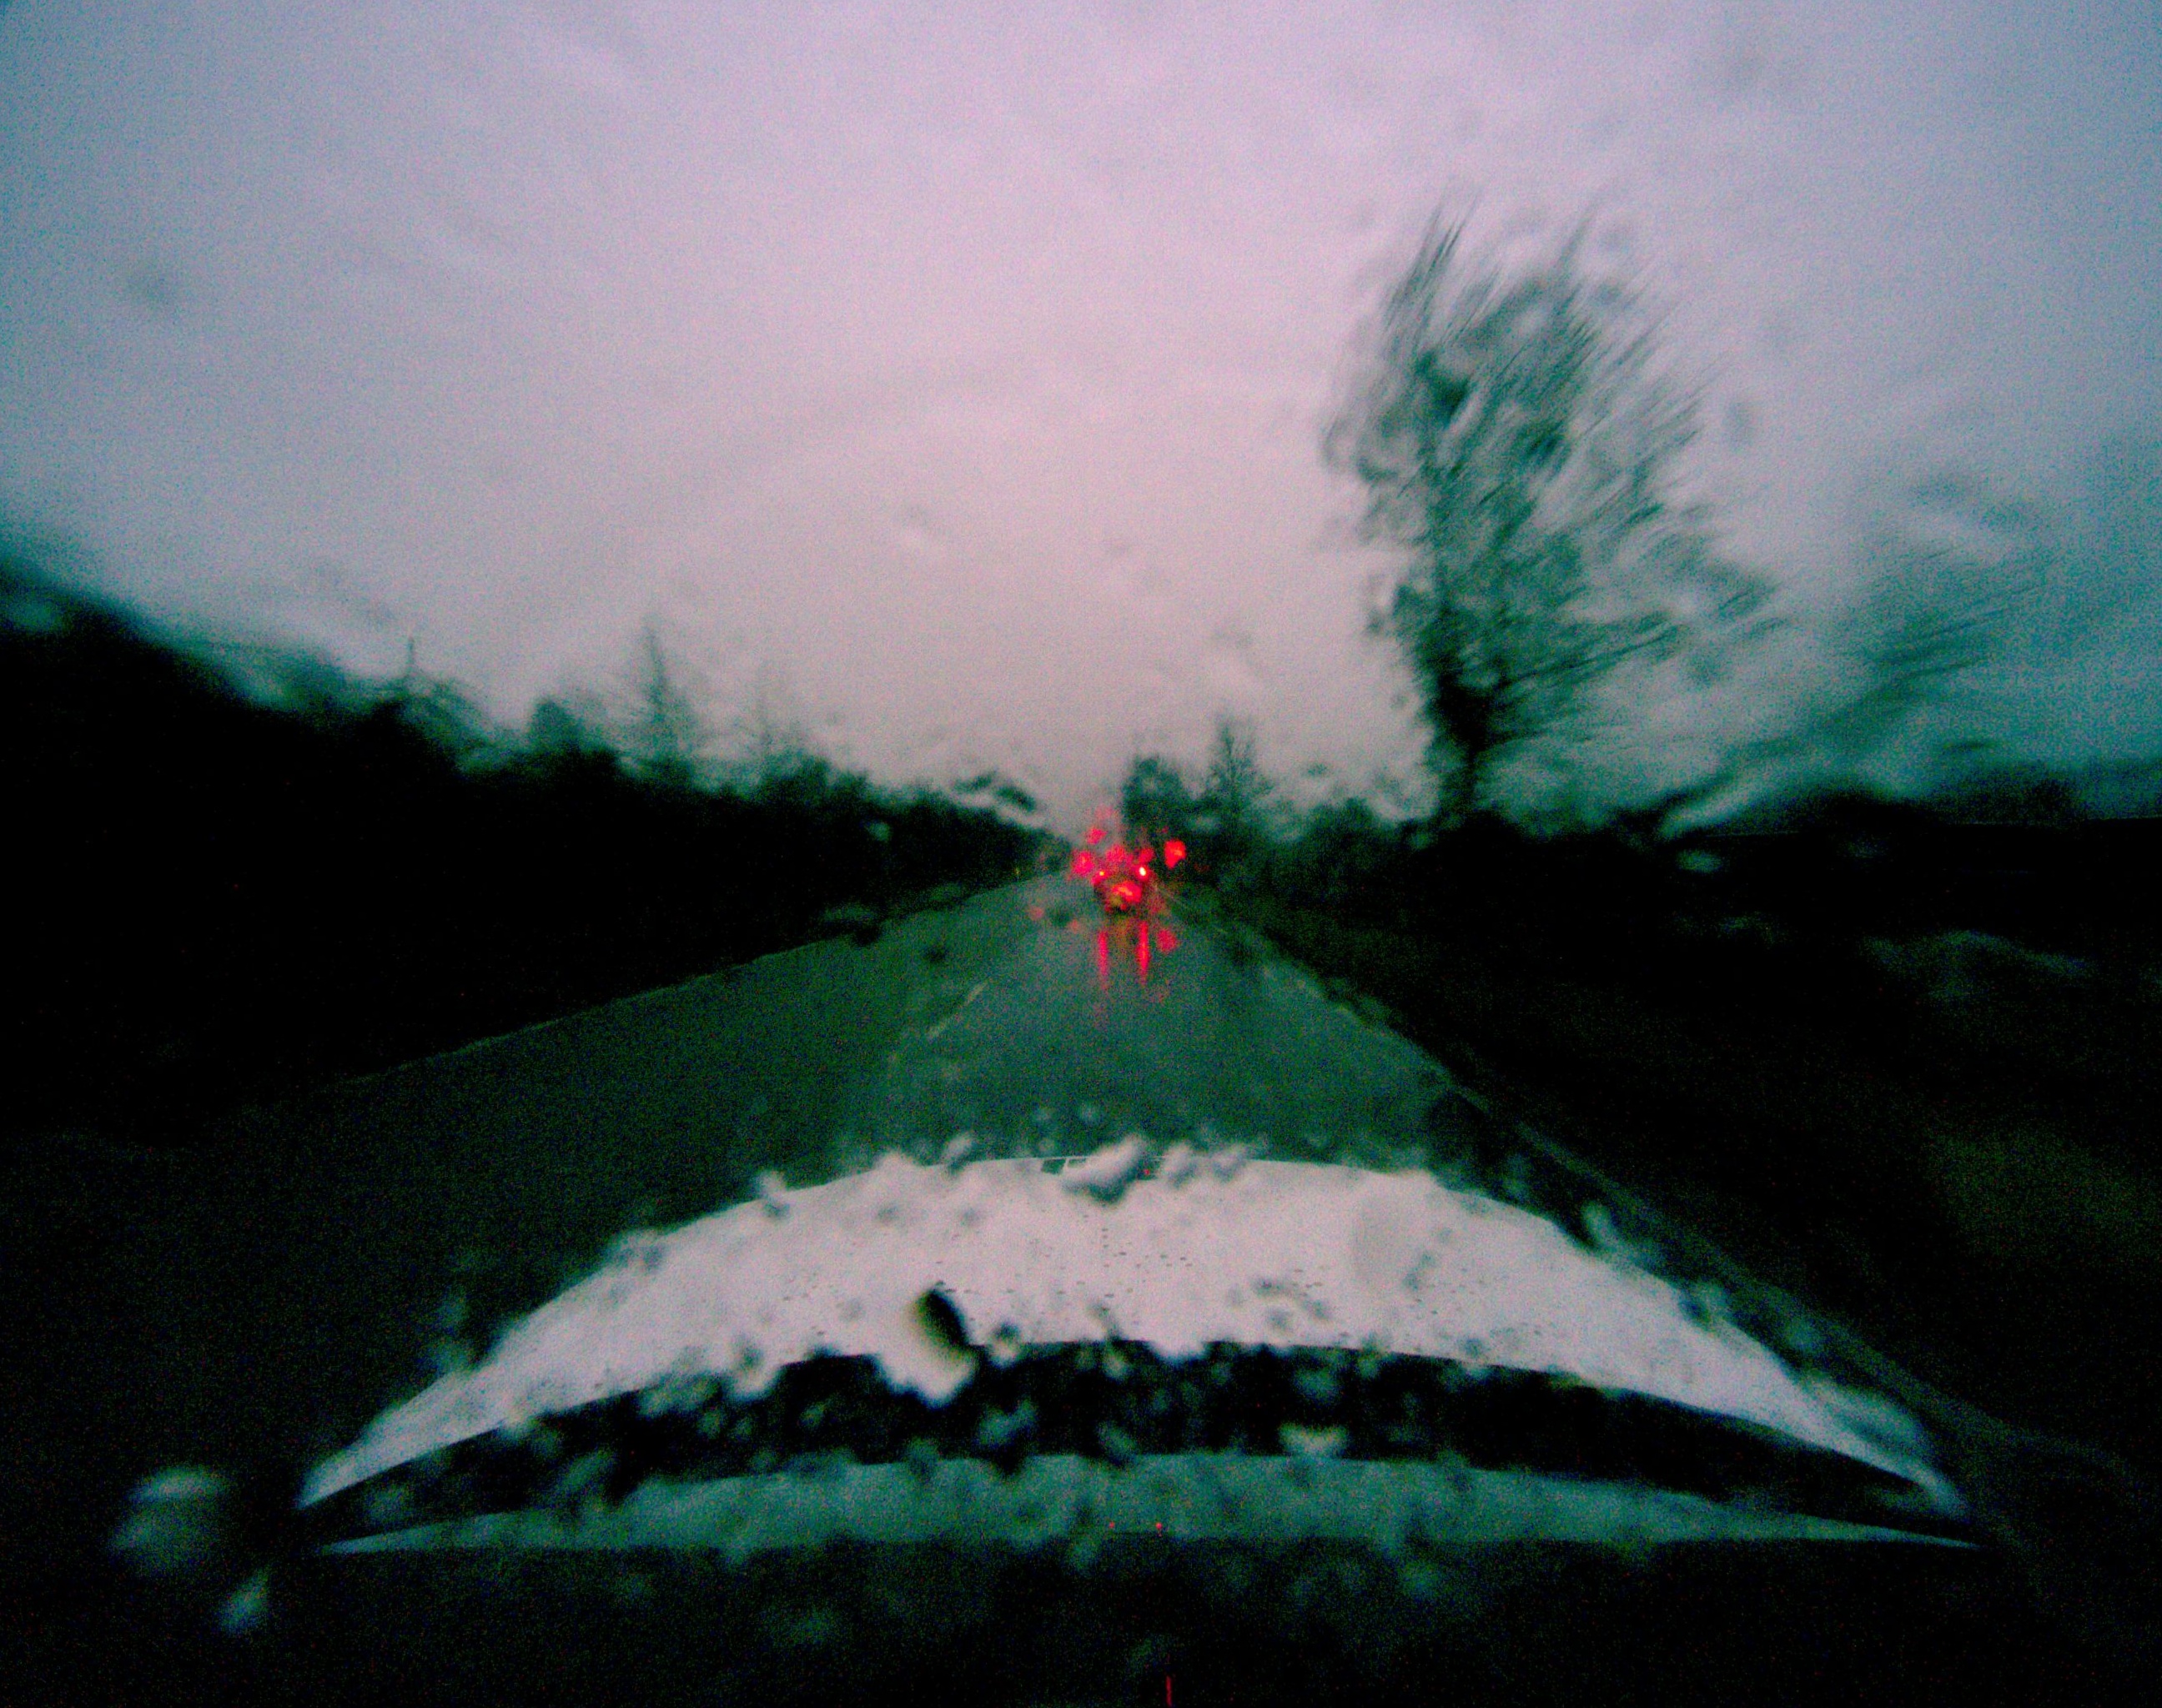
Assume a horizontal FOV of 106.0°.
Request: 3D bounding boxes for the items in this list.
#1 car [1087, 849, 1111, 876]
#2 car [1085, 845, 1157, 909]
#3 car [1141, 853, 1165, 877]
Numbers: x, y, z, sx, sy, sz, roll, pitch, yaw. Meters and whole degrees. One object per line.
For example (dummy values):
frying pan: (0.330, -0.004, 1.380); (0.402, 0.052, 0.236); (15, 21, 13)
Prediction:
car: (1.357, 0.590, 59.528); (1.568, 1.875, 3.712); (0, 0, 3)
car: (1.241, 0.646, 24.715); (1.985, 1.784, 4.004); (0, 0, 3)
car: (4.959, 0.707, 56.170); (1.556, 1.591, 3.493); (0, 0, 5)
